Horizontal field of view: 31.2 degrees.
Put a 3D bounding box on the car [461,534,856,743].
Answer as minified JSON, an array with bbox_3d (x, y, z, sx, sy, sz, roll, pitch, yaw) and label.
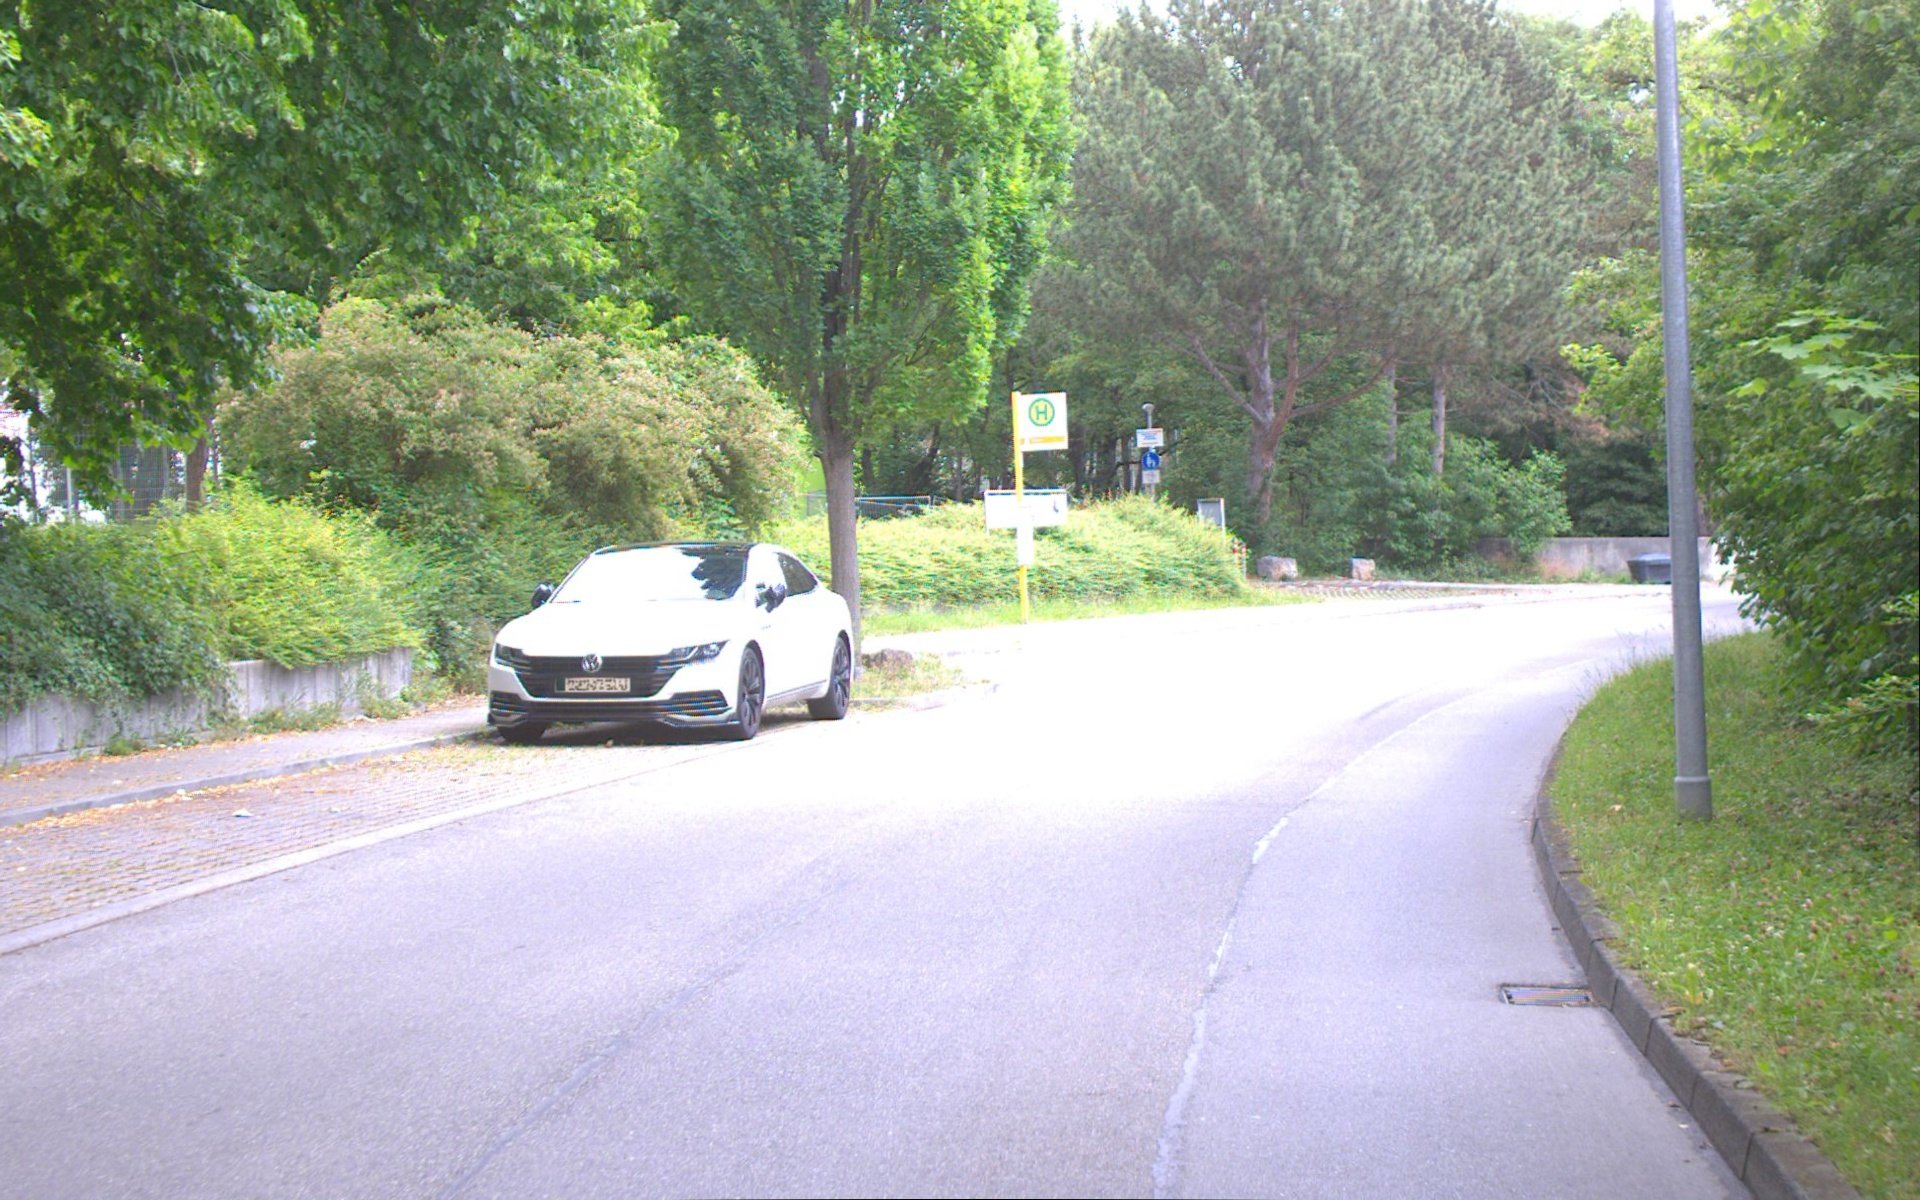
[{"bbox_3d":[-2.130,0.217,25.582,1.815,1.419,4.359,0,1,11],"label":"car"}]
